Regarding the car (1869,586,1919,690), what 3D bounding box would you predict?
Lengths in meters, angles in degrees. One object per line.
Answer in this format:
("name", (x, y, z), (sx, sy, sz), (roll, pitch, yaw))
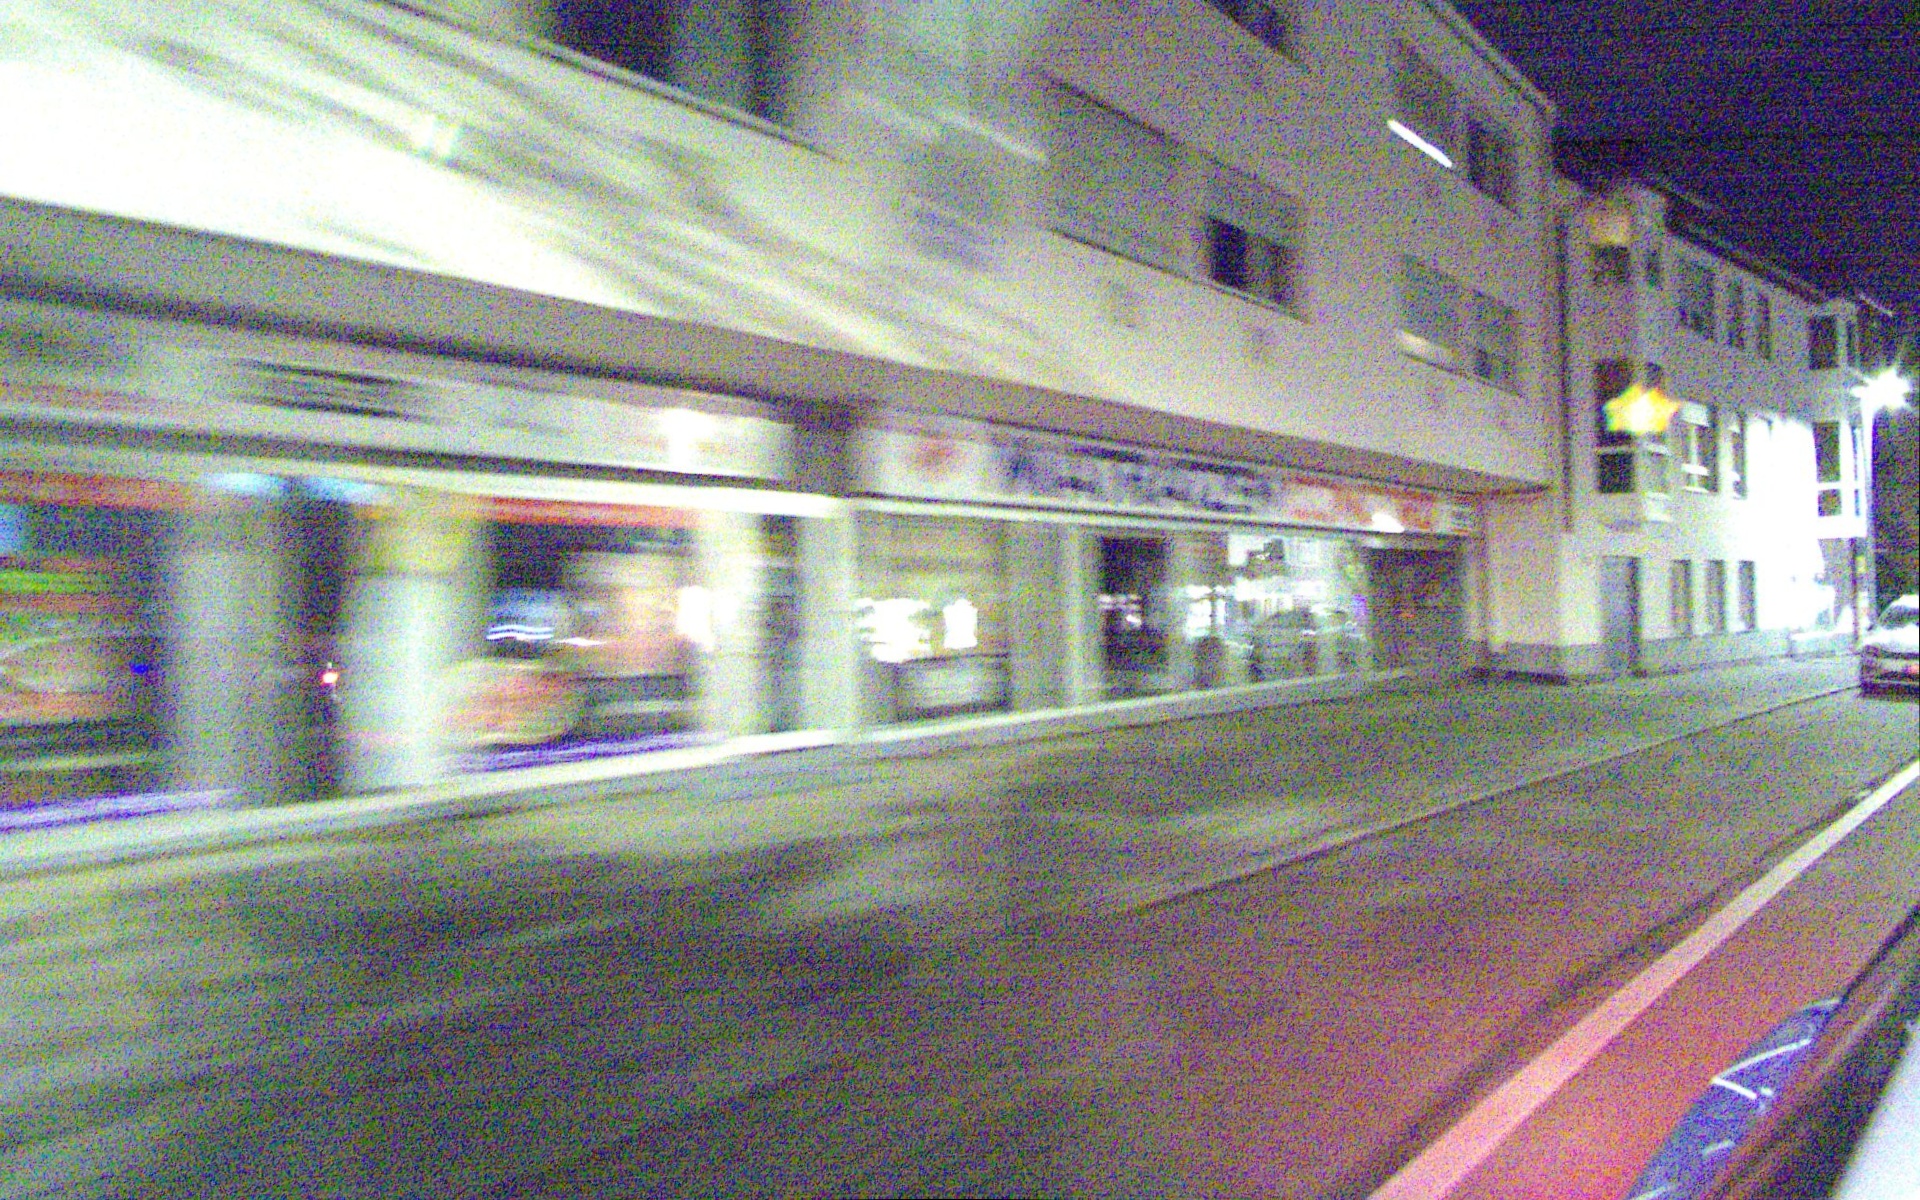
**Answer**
("car", (16.442, 0.592, 16.611), (4.134, 1.589, 1.746), (0, 1, -41))
